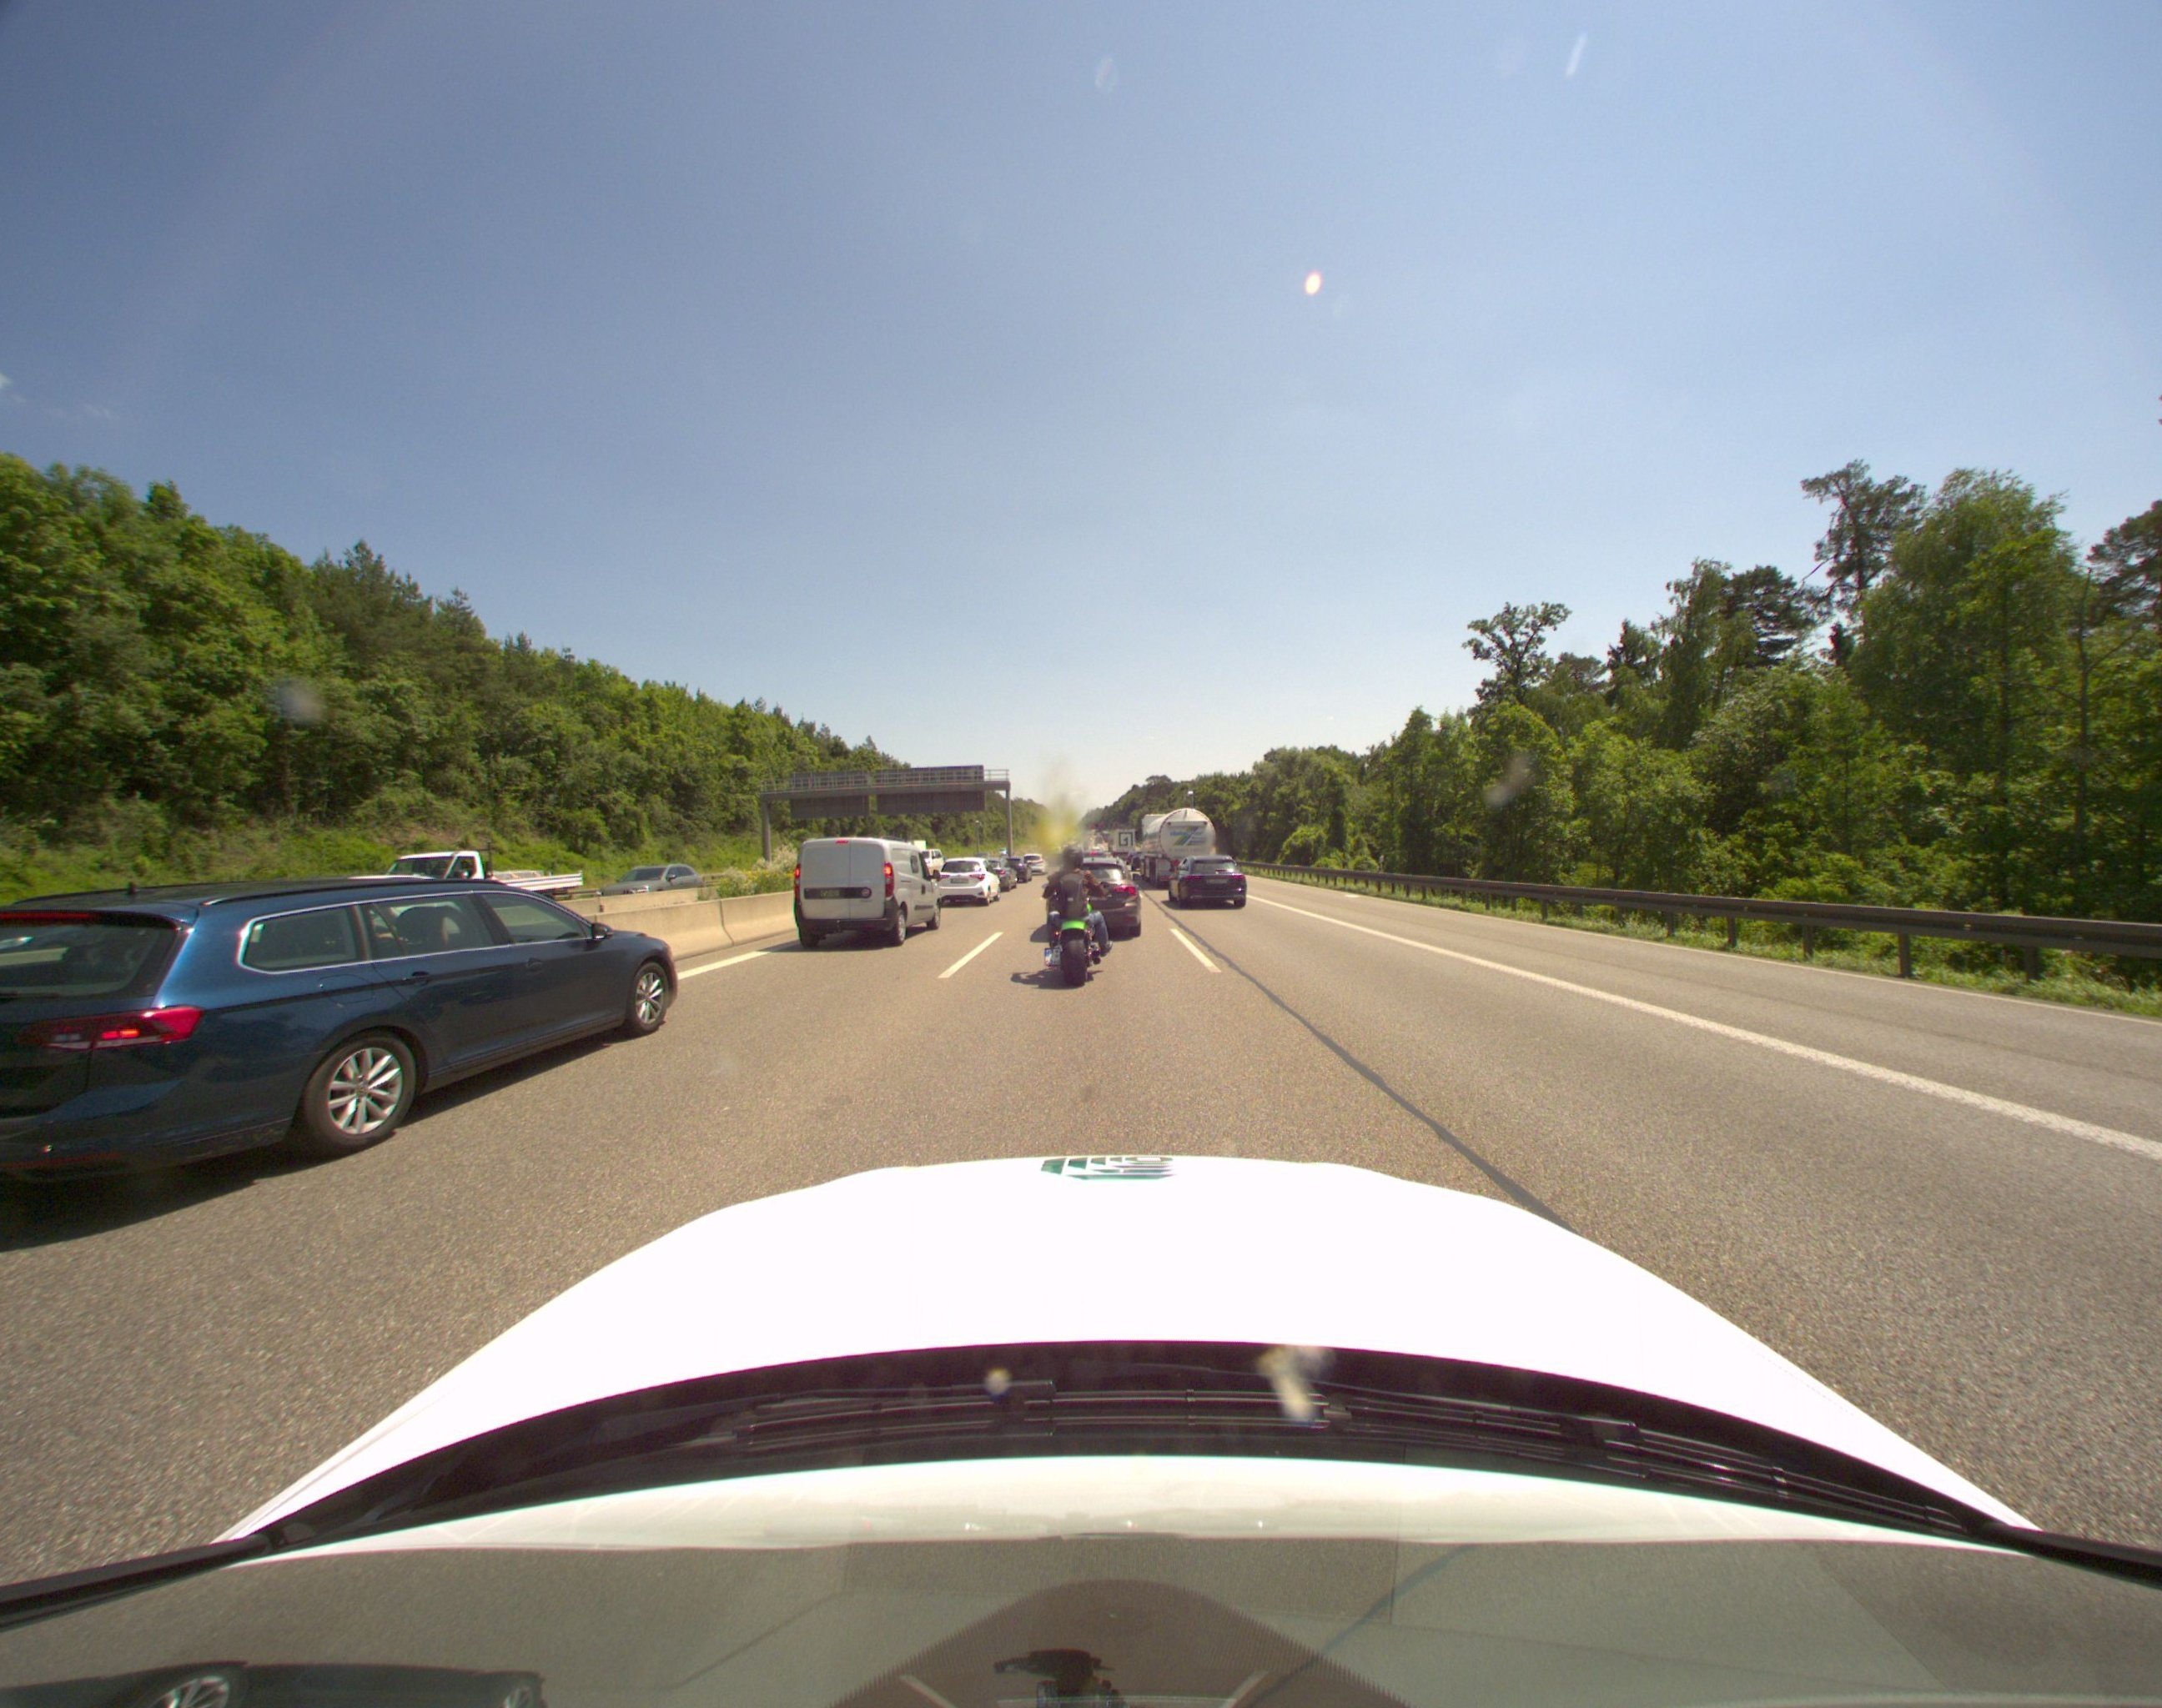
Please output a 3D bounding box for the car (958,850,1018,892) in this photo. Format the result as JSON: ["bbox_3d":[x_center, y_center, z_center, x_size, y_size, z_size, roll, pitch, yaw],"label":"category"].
[{"bbox_3d":[-3.958,0.729,35.296,1.986,1.684,4.331,-1,-1,1],"label":"car"}]

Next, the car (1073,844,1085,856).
[{"bbox_3d":[-0.392,-0.778,143.787,1.986,2.013,4.001,-2,0,1],"label":"car"}]

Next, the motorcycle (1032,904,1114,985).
[{"bbox_3d":[-0.065,1.102,10.439,0.932,0.793,2.299,-1,0,1],"label":"motorcycle"}]

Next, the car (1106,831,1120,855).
[{"bbox_3d":[5.550,-1.824,142.538,2.159,3.893,9.331,-1,-1,1],"label":"car"}]

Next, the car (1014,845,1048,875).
[{"bbox_3d":[-3.433,0.427,56.615,1.987,2.014,4.000,-1,-1,1],"label":"car"}]

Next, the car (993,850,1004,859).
[{"bbox_3d":[-19.334,0.148,190.647,1.893,2.013,4.001,-2,0,1],"label":"car"}]

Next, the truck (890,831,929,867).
[{"bbox_3d":[-19.982,-0.541,95.387,2.682,3.990,7.992,-1,-1,1],"label":"truck"}]

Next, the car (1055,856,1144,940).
[{"bbox_3d":[0.372,0.770,16.194,1.535,1.450,4.001,-1,0,1],"label":"car"}]

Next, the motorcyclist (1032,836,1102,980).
[{"bbox_3d":[-0.154,0.643,10.080,0.796,1.688,1.017,-1,-1,1],"label":"motorcyclist"}]

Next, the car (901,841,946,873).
[{"bbox_3d":[-10.269,0.223,53.321,1.986,2.014,4.002,-1,-1,2],"label":"car"}]

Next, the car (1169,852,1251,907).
[{"bbox_3d":[3.729,0.730,24.290,1.785,1.458,4.625,-1,-1,1],"label":"car"}]

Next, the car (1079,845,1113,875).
[{"bbox_3d":[0.898,0.380,49.807,1.987,1.775,3.999,-1,-1,0],"label":"car"}]

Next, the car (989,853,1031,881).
[{"bbox_3d":[-3.795,0.702,44.140,1.988,1.464,3.997,-1,-1,-2],"label":"car"}]

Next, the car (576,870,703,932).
[{"bbox_3d":[-14.368,1.470,26.811,1.778,1.838,4.294,-1,-1,1],"label":"car"}]

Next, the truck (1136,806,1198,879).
[{"bbox_3d":[4.589,-0.520,44.484,2.818,3.671,6.430,-1,-1,1],"label":"truck"}]

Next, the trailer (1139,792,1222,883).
[{"bbox_3d":[4.451,-0.605,38.606,2.818,3.671,10.734,-1,-1,1],"label":"trailer"}]

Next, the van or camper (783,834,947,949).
[{"bbox_3d":[-3.926,0.599,15.671,1.846,1.880,4.562,-1,0,1],"label":"van or camper"}]

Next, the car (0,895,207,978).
[{"bbox_3d":[-21.738,1.711,17.566,1.924,1.485,3.542,-1,-1,-1],"label":"car"}]

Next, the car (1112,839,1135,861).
[{"bbox_3d":[4.205,-0.386,80.594,1.987,2.014,3.999,-1,-1,0],"label":"car"}]

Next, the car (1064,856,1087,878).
[{"bbox_3d":[-0.498,1.222,77.296,1.986,2.014,4.001,-1,-1,1],"label":"car"}]

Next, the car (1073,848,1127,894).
[{"bbox_3d":[0.728,0.683,32.607,1.987,1.711,3.999,-1,-1,0],"label":"car"}]

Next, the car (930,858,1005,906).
[{"bbox_3d":[-3.562,0.859,26.280,1.769,1.411,4.001,-1,-1,1],"label":"car"}]

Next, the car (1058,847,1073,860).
[{"bbox_3d":[-2.021,-0.079,106.747,1.654,1.599,4.001,-1,-1,2],"label":"car"}]

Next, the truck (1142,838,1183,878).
[{"bbox_3d":[6.399,0.303,64.866,2.380,2.979,8.252,-1,0,0],"label":"truck"}]

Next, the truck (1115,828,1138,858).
[{"bbox_3d":[6.069,-1.373,108.204,2.841,3.821,7.195,-1,-1,4],"label":"truck"}]

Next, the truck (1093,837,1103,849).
[{"bbox_3d":[5.293,-3.441,251.004,2.686,3.405,10.480,-2,0,1],"label":"truck"}]

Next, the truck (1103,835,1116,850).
[{"bbox_3d":[6.687,-2.700,192.073,2.686,3.405,10.480,-2,0,1],"label":"truck"}]

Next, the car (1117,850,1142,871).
[{"bbox_3d":[3.665,0.546,62.316,1.769,1.527,4.001,-1,-1,1],"label":"car"}]

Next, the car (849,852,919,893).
[{"bbox_3d":[-7.855,0.694,32.825,1.819,1.494,4.000,-2,0,0],"label":"car"}]

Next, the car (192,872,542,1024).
[{"bbox_3d":[-11.000,1.314,13.035,1.986,2.014,4.001,-1,-1,2],"label":"car"}]

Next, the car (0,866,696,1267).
[{"bbox_3d":[-4.632,0.830,5.361,1.867,1.450,4.679,-1,-1,1],"label":"car"}]

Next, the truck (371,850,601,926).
[{"bbox_3d":[-17.979,0.962,25.243,2.343,2.014,6.491,-1,-1,0],"label":"truck"}]

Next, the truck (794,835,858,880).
[{"bbox_3d":[-17.436,0.308,56.068,2.170,2.885,6.742,-1,-1,1],"label":"truck"}]

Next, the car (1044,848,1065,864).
[{"bbox_3d":[-2.604,0.226,81.143,1.757,1.442,4.001,-1,-1,2],"label":"car"}]
